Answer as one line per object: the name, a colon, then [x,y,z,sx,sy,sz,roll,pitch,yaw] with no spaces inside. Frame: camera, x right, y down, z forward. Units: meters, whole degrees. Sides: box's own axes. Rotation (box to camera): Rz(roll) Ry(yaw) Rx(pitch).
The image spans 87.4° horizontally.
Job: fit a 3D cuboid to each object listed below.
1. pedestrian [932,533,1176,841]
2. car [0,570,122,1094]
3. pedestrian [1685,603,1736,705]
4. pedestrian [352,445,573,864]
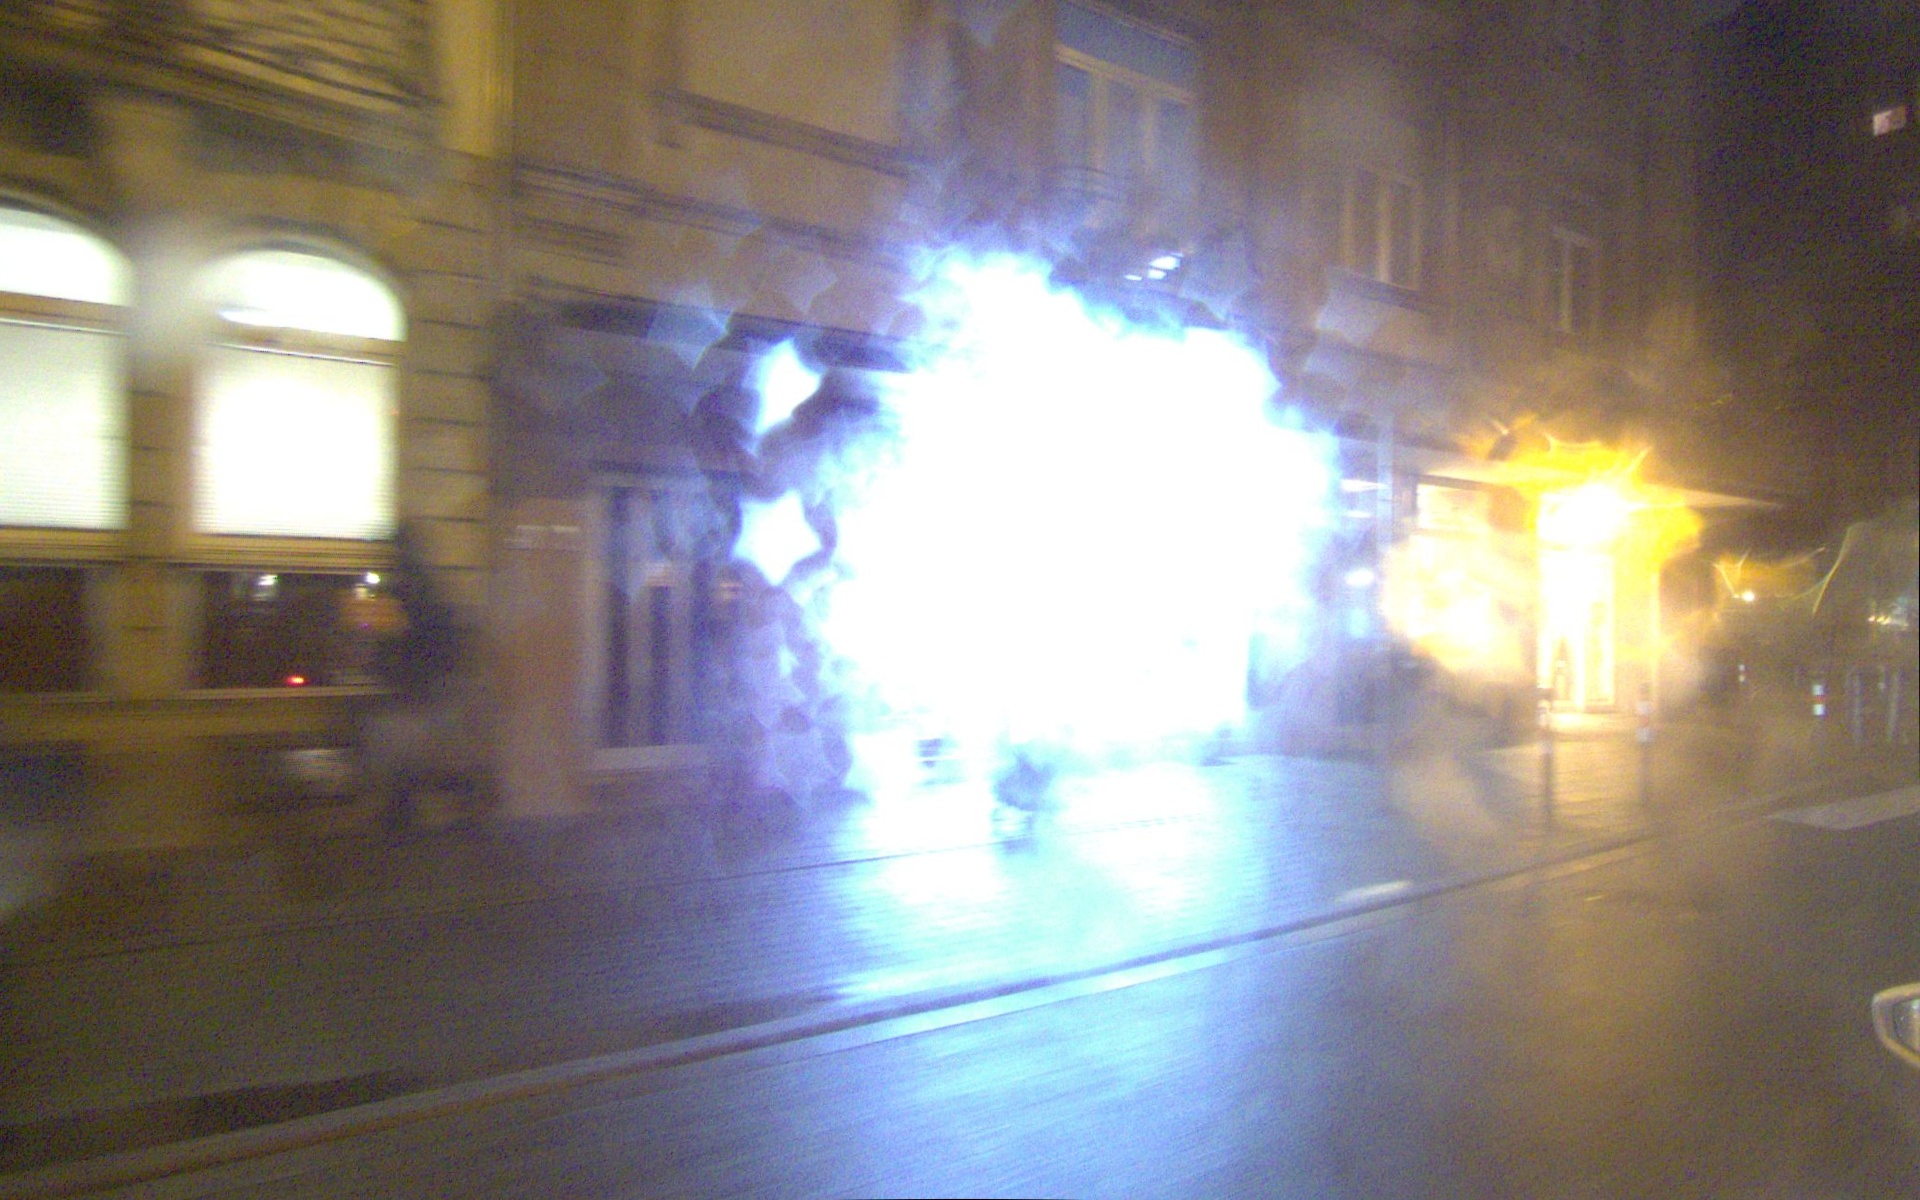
pedestrian: [0.645,0.552,6.940,1.399,1.888,0.951,1,-1,-31]
car: [-5.061,0.619,1.950,4.971,1.498,1.838,1,-1,-30]
pedestrian: [14.563,1.034,19.506,0.642,1.934,0.628,1,0,23]
pedestrian: [-3.007,0.310,6.080,1.104,2.270,0.795,1,-1,-31]
